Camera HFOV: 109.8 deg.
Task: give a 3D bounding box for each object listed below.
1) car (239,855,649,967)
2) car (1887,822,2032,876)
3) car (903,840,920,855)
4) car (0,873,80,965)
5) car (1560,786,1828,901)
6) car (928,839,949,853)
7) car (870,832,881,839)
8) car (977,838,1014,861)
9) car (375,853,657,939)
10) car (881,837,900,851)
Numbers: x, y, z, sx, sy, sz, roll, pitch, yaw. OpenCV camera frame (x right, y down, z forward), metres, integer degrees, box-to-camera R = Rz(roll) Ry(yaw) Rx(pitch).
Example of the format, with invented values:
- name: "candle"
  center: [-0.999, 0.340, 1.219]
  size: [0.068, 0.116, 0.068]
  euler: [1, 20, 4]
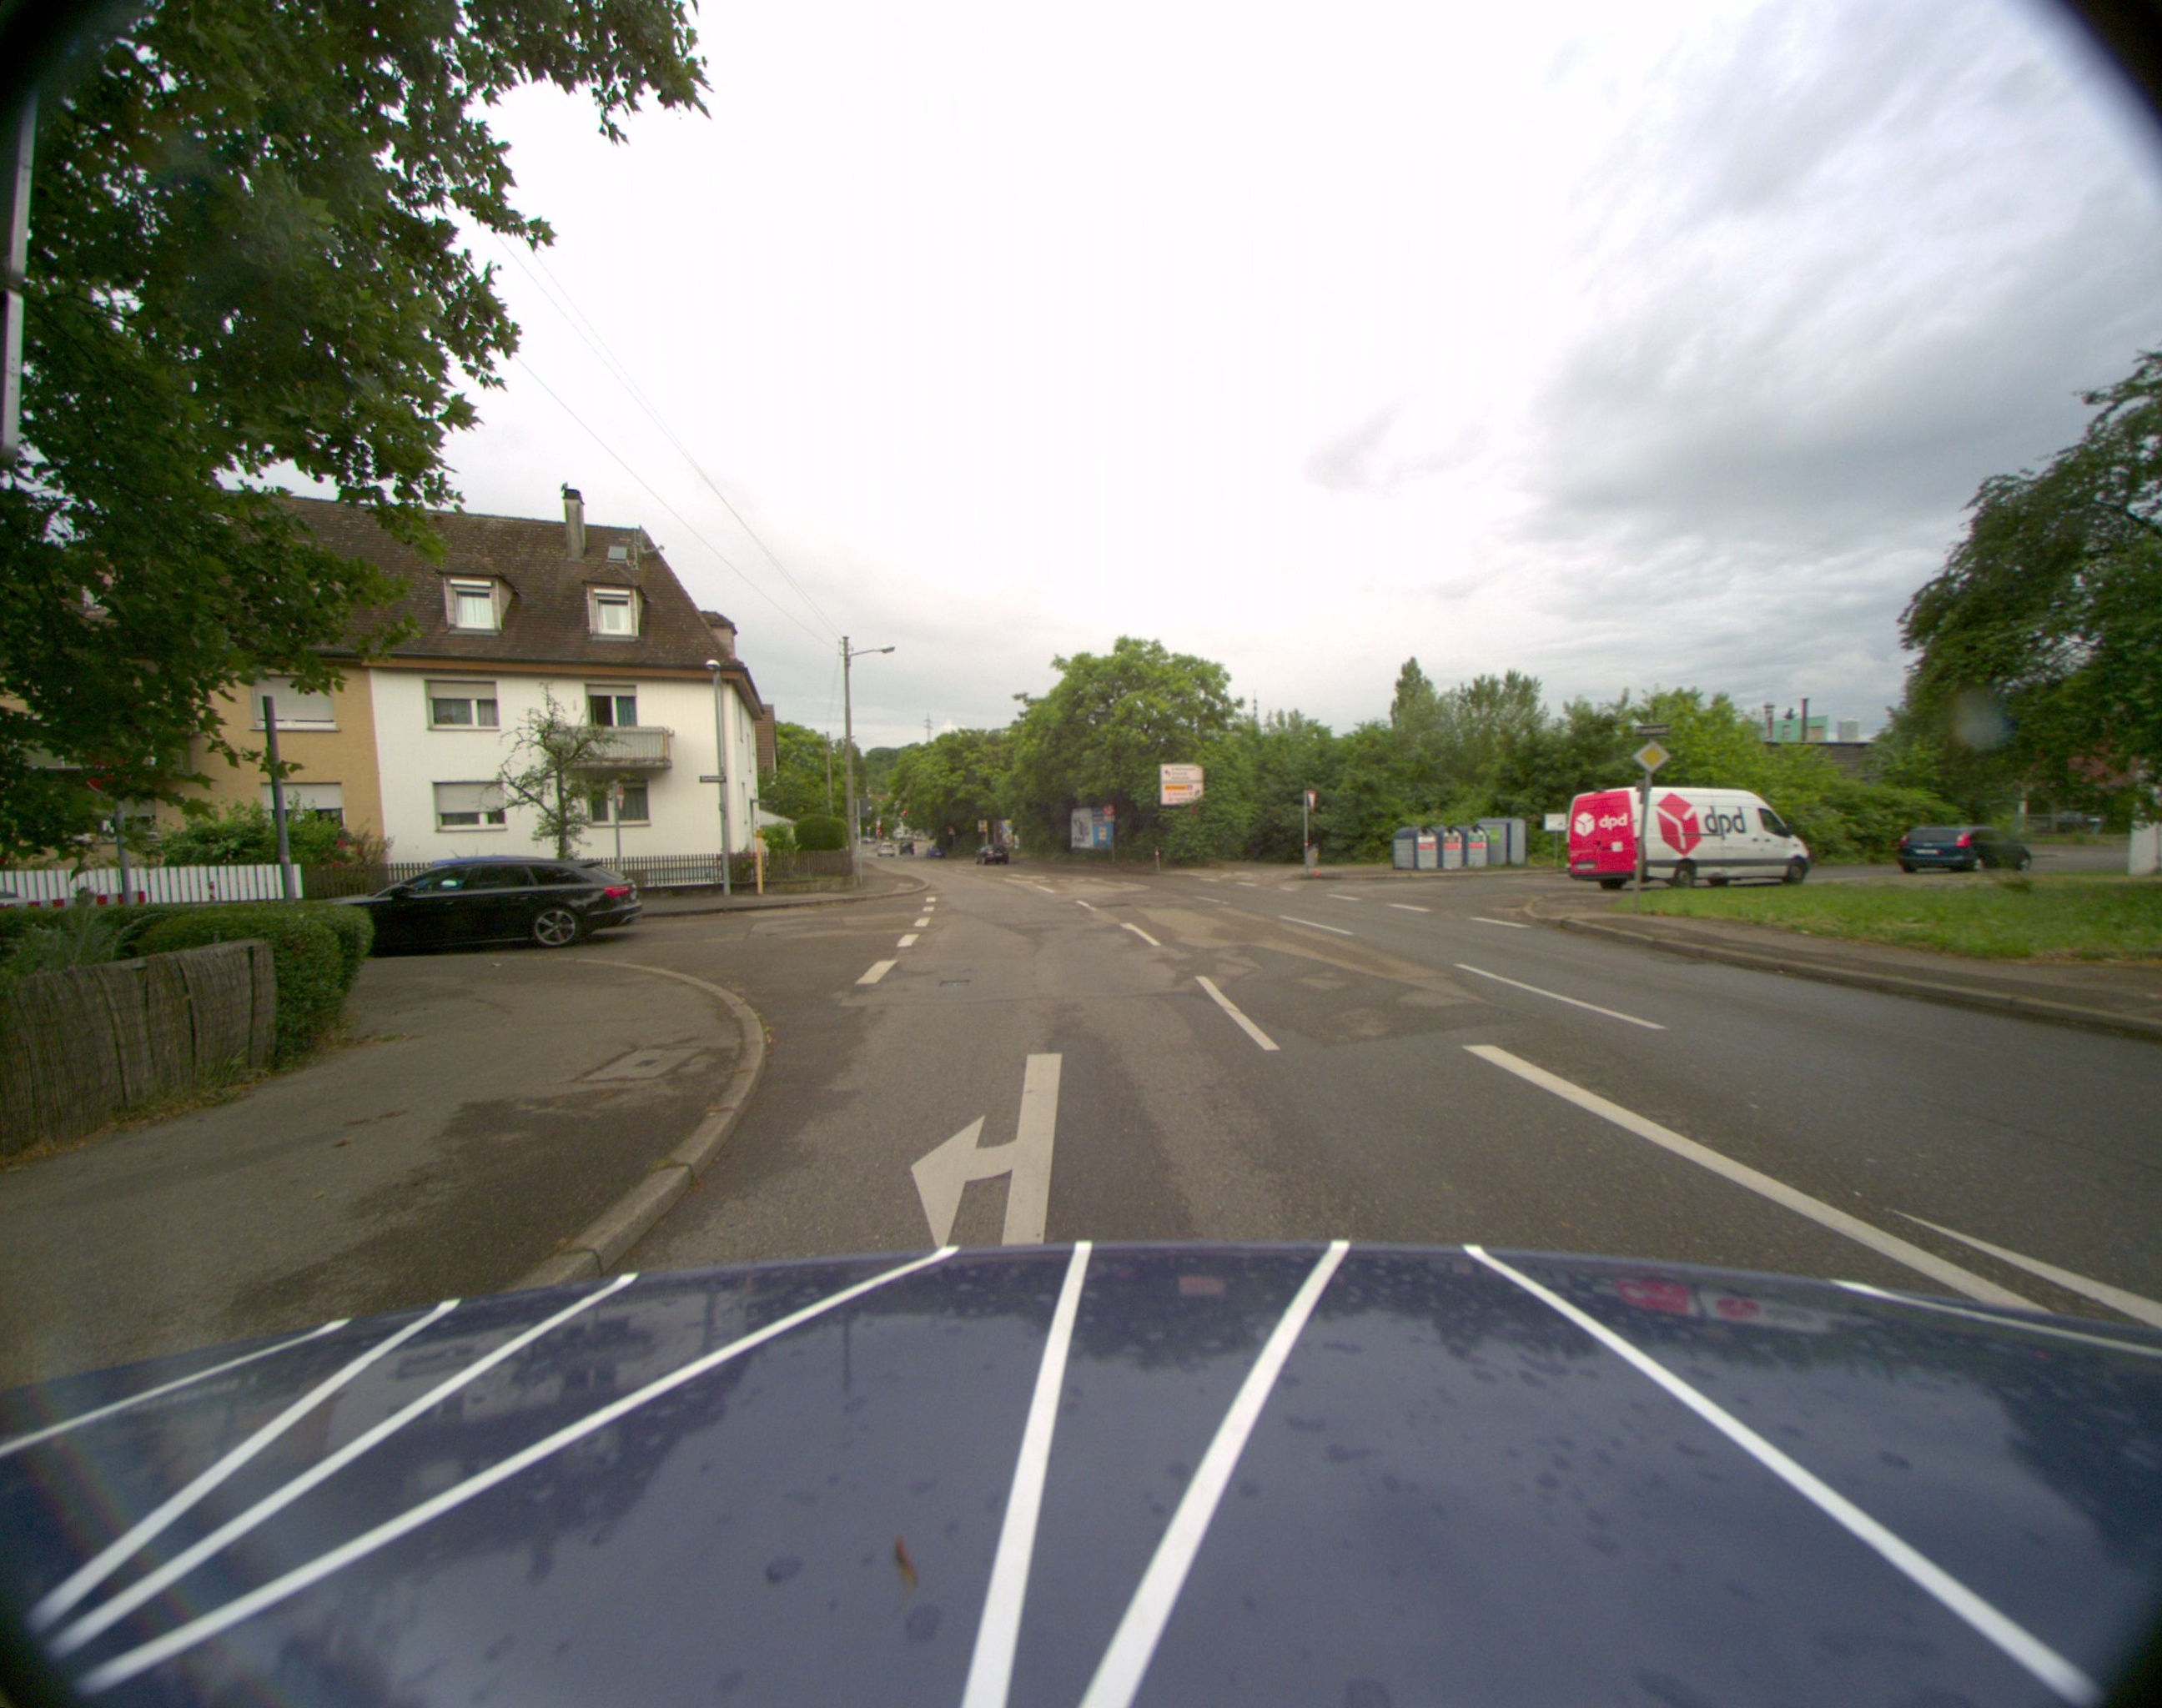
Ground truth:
- name: "car"
  center: [-10.066, 0.813, 12.606]
  size: [4.823, 1.472, 1.882]
  euler: [-1, 1, -24]
- name: "car"
  center: [30.130, -0.222, 26.072]
  size: [4.257, 1.620, 1.996]
  euler: [-3, 2, -22]
- name: "car"
  center: [-23.227, -0.919, 103.979]
  size: [1.965, 1.920, 4.675]
  euler: [-2, 1, -17]
- name: "car"
  center: [-19.482, 1.124, 12.150]
  size: [3.788, 1.445, 1.769]
  euler: [-2, 1, -20]
- name: "car"
  center: [16.153, -0.359, 20.027]
  size: [6.829, 2.641, 2.258]
  euler: [-2, 2, -20]
- name: "car"
  center: [-14.842, -0.842, 79.018]
  size: [1.604, 1.418, 3.690]
  euler: [-2, 2, -18]
- name: "car"
  center: [-42.644, -3.858, 157.598]
  size: [1.903, 1.453, 3.992]
  euler: [-2, 1, -20]
- name: "car"
  center: [-6.281, -0.320, 55.144]
  size: [1.849, 1.560, 4.405]
  euler: [-2, 1, -17]
- name: "car"
  center: [-11.134, 0.762, 15.345]
  size: [4.130, 1.472, 1.883]
  euler: [-1, 1, -17]
- name: "car"
  center: [-23.818, -1.245, 94.938]
  size: [1.839, 1.570, 4.325]
  euler: [-3, 2, -20]
